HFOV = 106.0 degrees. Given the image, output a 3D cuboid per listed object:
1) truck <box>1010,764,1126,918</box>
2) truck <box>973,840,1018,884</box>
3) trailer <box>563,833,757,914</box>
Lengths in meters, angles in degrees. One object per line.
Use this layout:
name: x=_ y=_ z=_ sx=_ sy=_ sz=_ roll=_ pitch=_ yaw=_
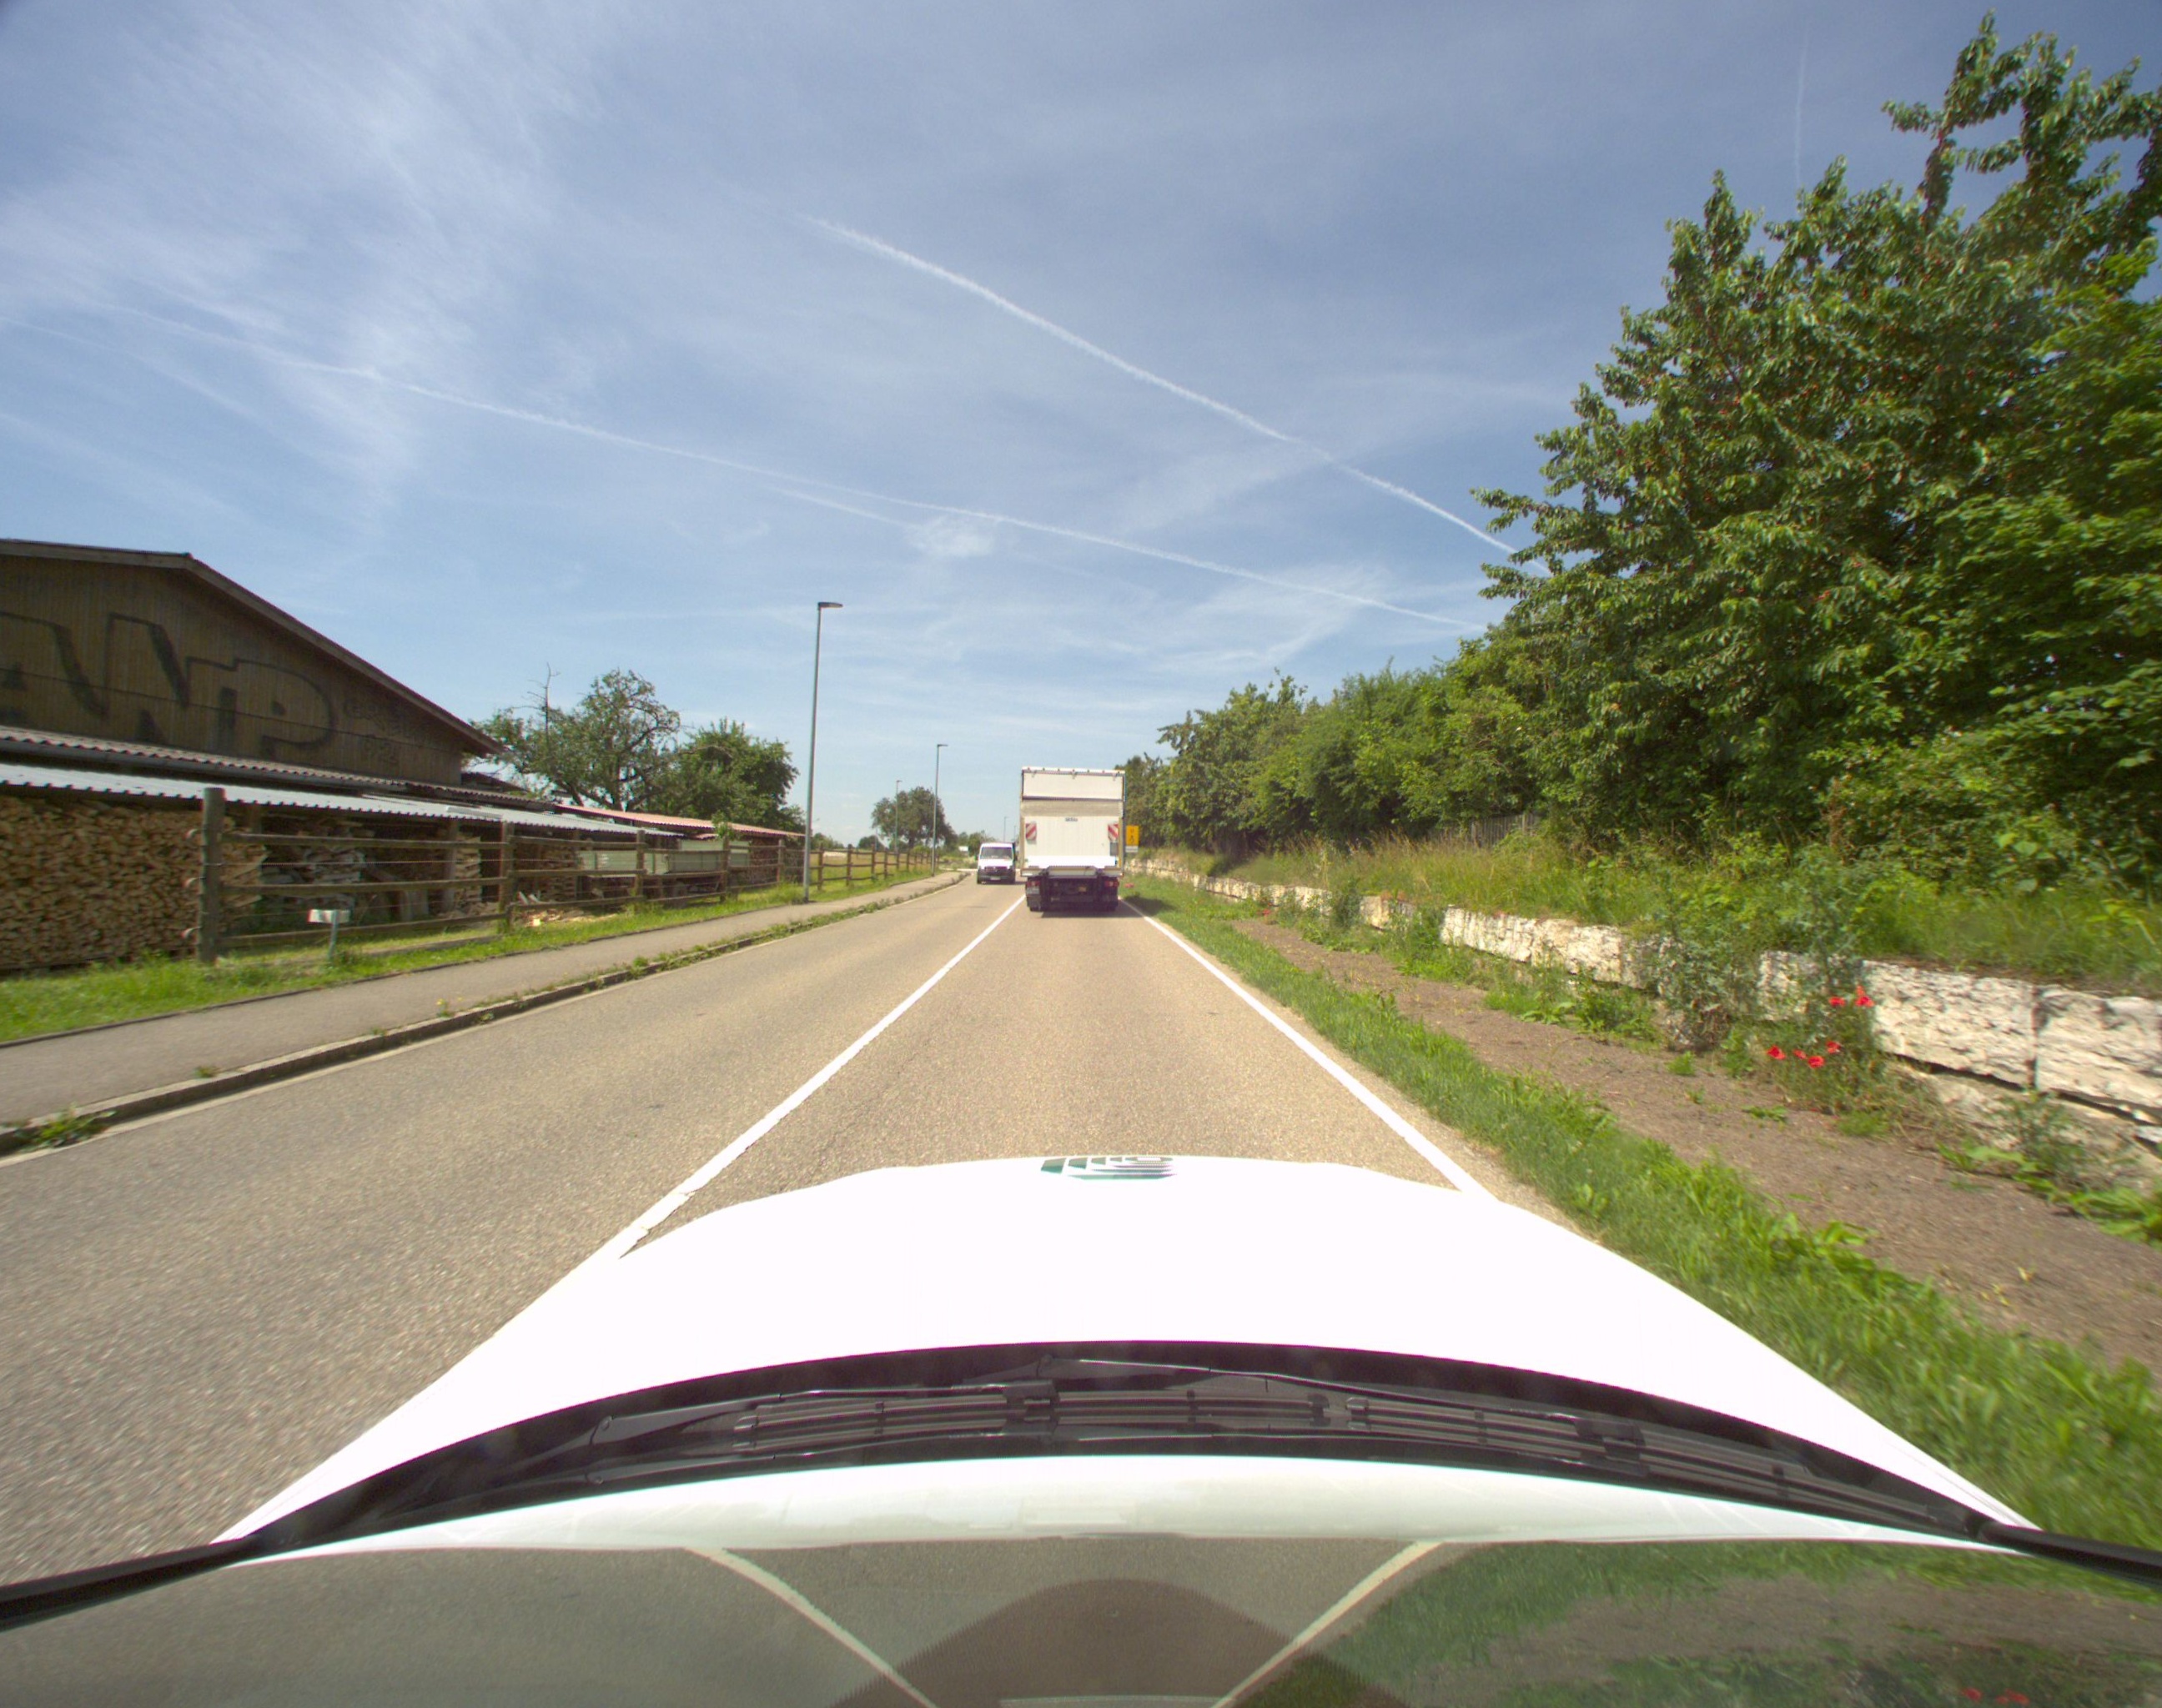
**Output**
truck: x=-0.396 y=-0.296 z=24.114 sx=2.759 sy=3.671 sz=9.377 roll=0 pitch=0 yaw=-1
truck: x=-4.718 y=0.463 z=45.902 sx=2.217 sy=2.293 sz=6.483 roll=0 pitch=0 yaw=-3
trailer: x=-9.925 y=0.423 z=19.771 sx=2.149 sy=1.703 sz=5.026 roll=0 pitch=0 yaw=-1
